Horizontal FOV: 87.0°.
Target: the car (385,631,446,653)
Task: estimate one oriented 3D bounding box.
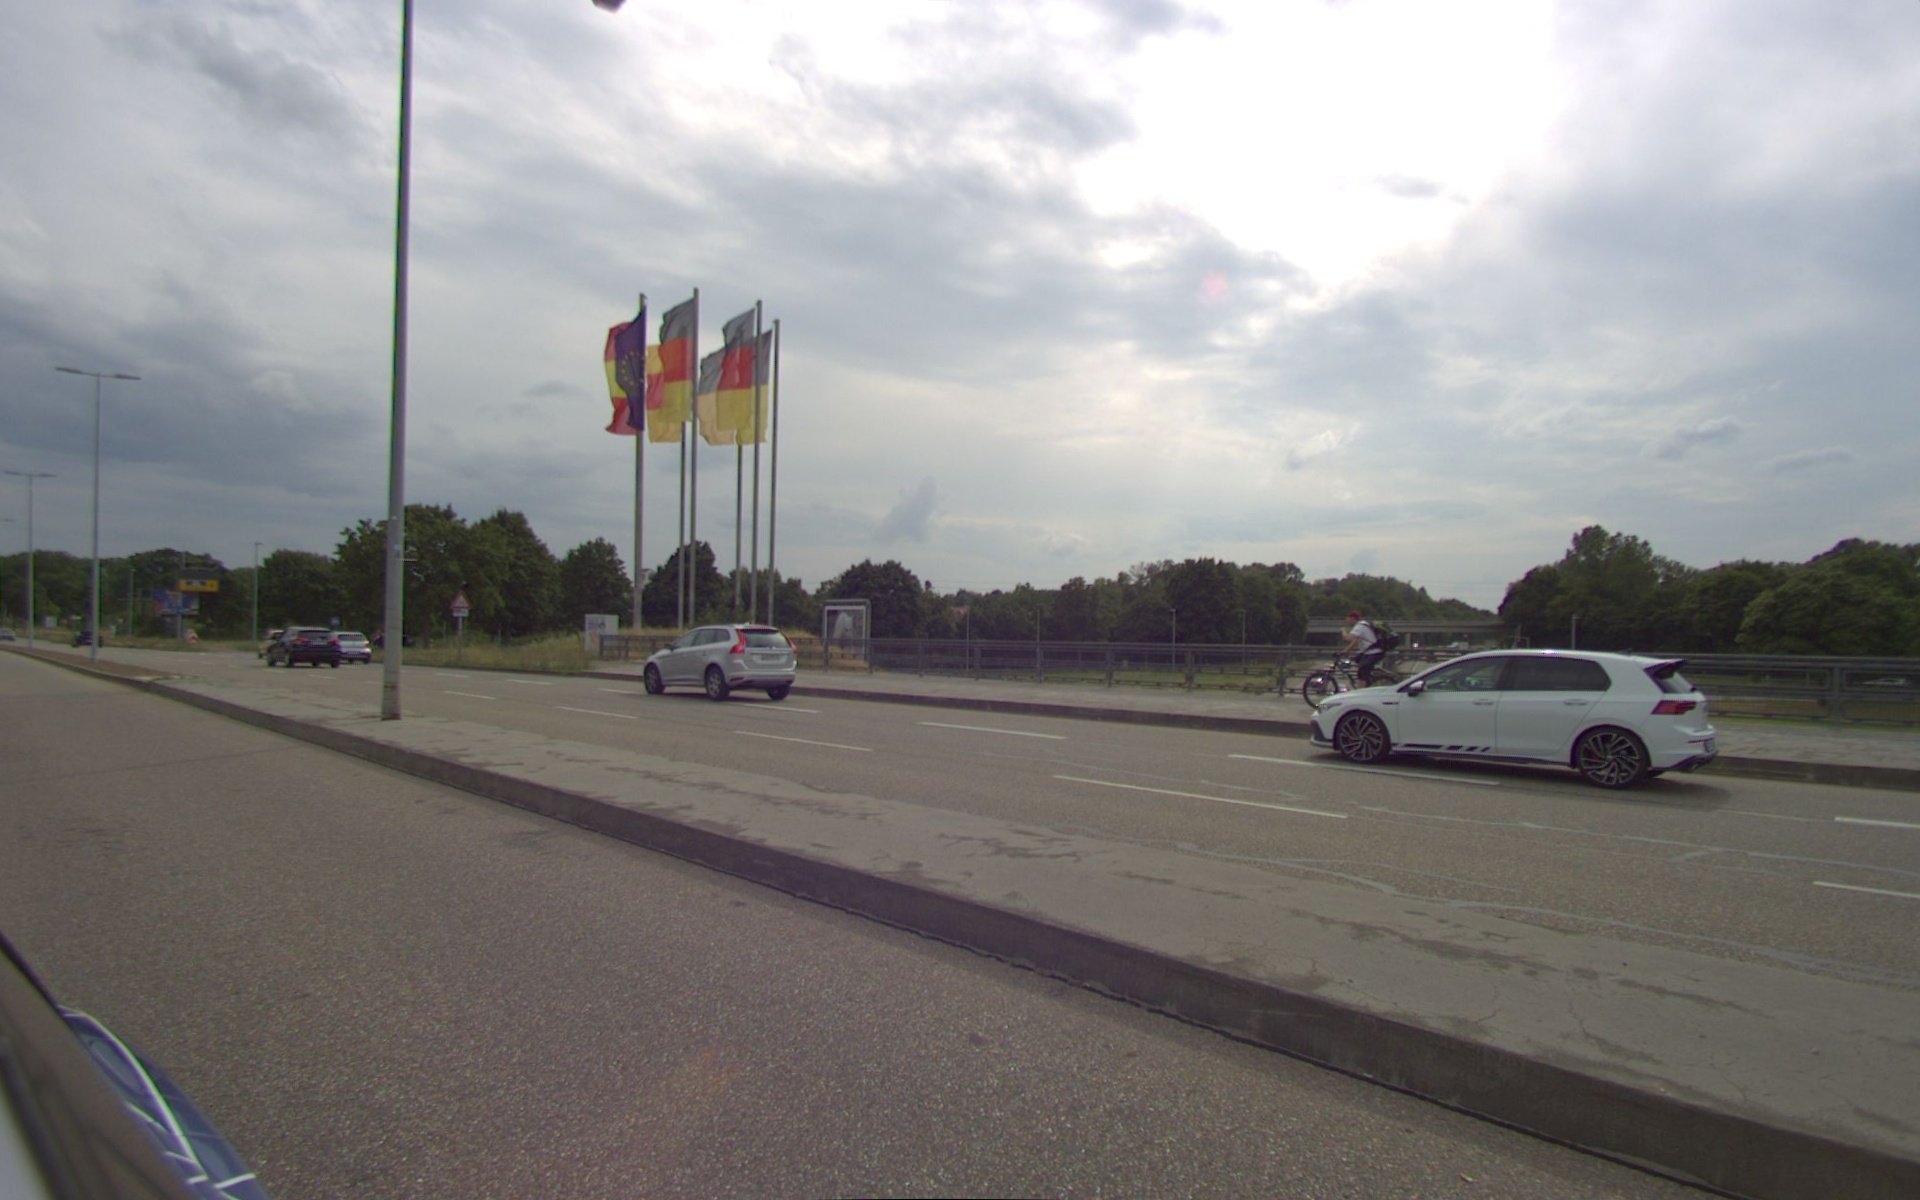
[{"bbox_3d":[-50.984,3.970,94.941,1.835,1.908,5.480,0,-4,13],"label":"car"}]

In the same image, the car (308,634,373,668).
[{"bbox_3d":[-28.728,2.375,46.904,1.630,1.527,4.018,4,-5,-45],"label":"car"}]

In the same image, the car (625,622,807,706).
[{"bbox_3d":[-5.702,1.416,23.268,1.841,1.738,4.773,4,-4,-45],"label":"car"}]

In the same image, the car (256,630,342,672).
[{"bbox_3d":[-25.869,1.980,39.580,4.315,1.527,1.721,-1,-4,42],"label":"car"}]

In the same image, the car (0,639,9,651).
[{"bbox_3d":[-127.653,6.011,134.258,4.561,1.613,1.827,-3,-4,43],"label":"car"}]

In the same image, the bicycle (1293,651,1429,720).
[{"bbox_3d":[6.902,1.447,17.486,2.059,1.057,0.699,-1,-1,42],"label":"bicycle"}]

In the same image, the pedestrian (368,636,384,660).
[{"bbox_3d":[-41.184,3.376,71.335,0.853,1.706,0.681,2,-4,-22],"label":"pedestrian"}]

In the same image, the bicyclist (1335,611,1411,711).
[{"bbox_3d":[7.071,1.022,17.334,0.976,1.639,0.786,-1,-1,42],"label":"bicyclist"}]

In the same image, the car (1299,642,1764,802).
[{"bbox_3d":[6.495,1.275,11.891,4.472,1.492,1.719,-2,-4,44],"label":"car"}]

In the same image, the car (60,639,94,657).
[{"bbox_3d":[-74.905,4.069,85.851,4.178,1.452,1.743,-3,-5,44],"label":"car"}]

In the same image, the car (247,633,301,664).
[{"bbox_3d":[-36.833,2.613,54.321,3.690,1.590,1.531,-2,-5,43],"label":"car"}]
